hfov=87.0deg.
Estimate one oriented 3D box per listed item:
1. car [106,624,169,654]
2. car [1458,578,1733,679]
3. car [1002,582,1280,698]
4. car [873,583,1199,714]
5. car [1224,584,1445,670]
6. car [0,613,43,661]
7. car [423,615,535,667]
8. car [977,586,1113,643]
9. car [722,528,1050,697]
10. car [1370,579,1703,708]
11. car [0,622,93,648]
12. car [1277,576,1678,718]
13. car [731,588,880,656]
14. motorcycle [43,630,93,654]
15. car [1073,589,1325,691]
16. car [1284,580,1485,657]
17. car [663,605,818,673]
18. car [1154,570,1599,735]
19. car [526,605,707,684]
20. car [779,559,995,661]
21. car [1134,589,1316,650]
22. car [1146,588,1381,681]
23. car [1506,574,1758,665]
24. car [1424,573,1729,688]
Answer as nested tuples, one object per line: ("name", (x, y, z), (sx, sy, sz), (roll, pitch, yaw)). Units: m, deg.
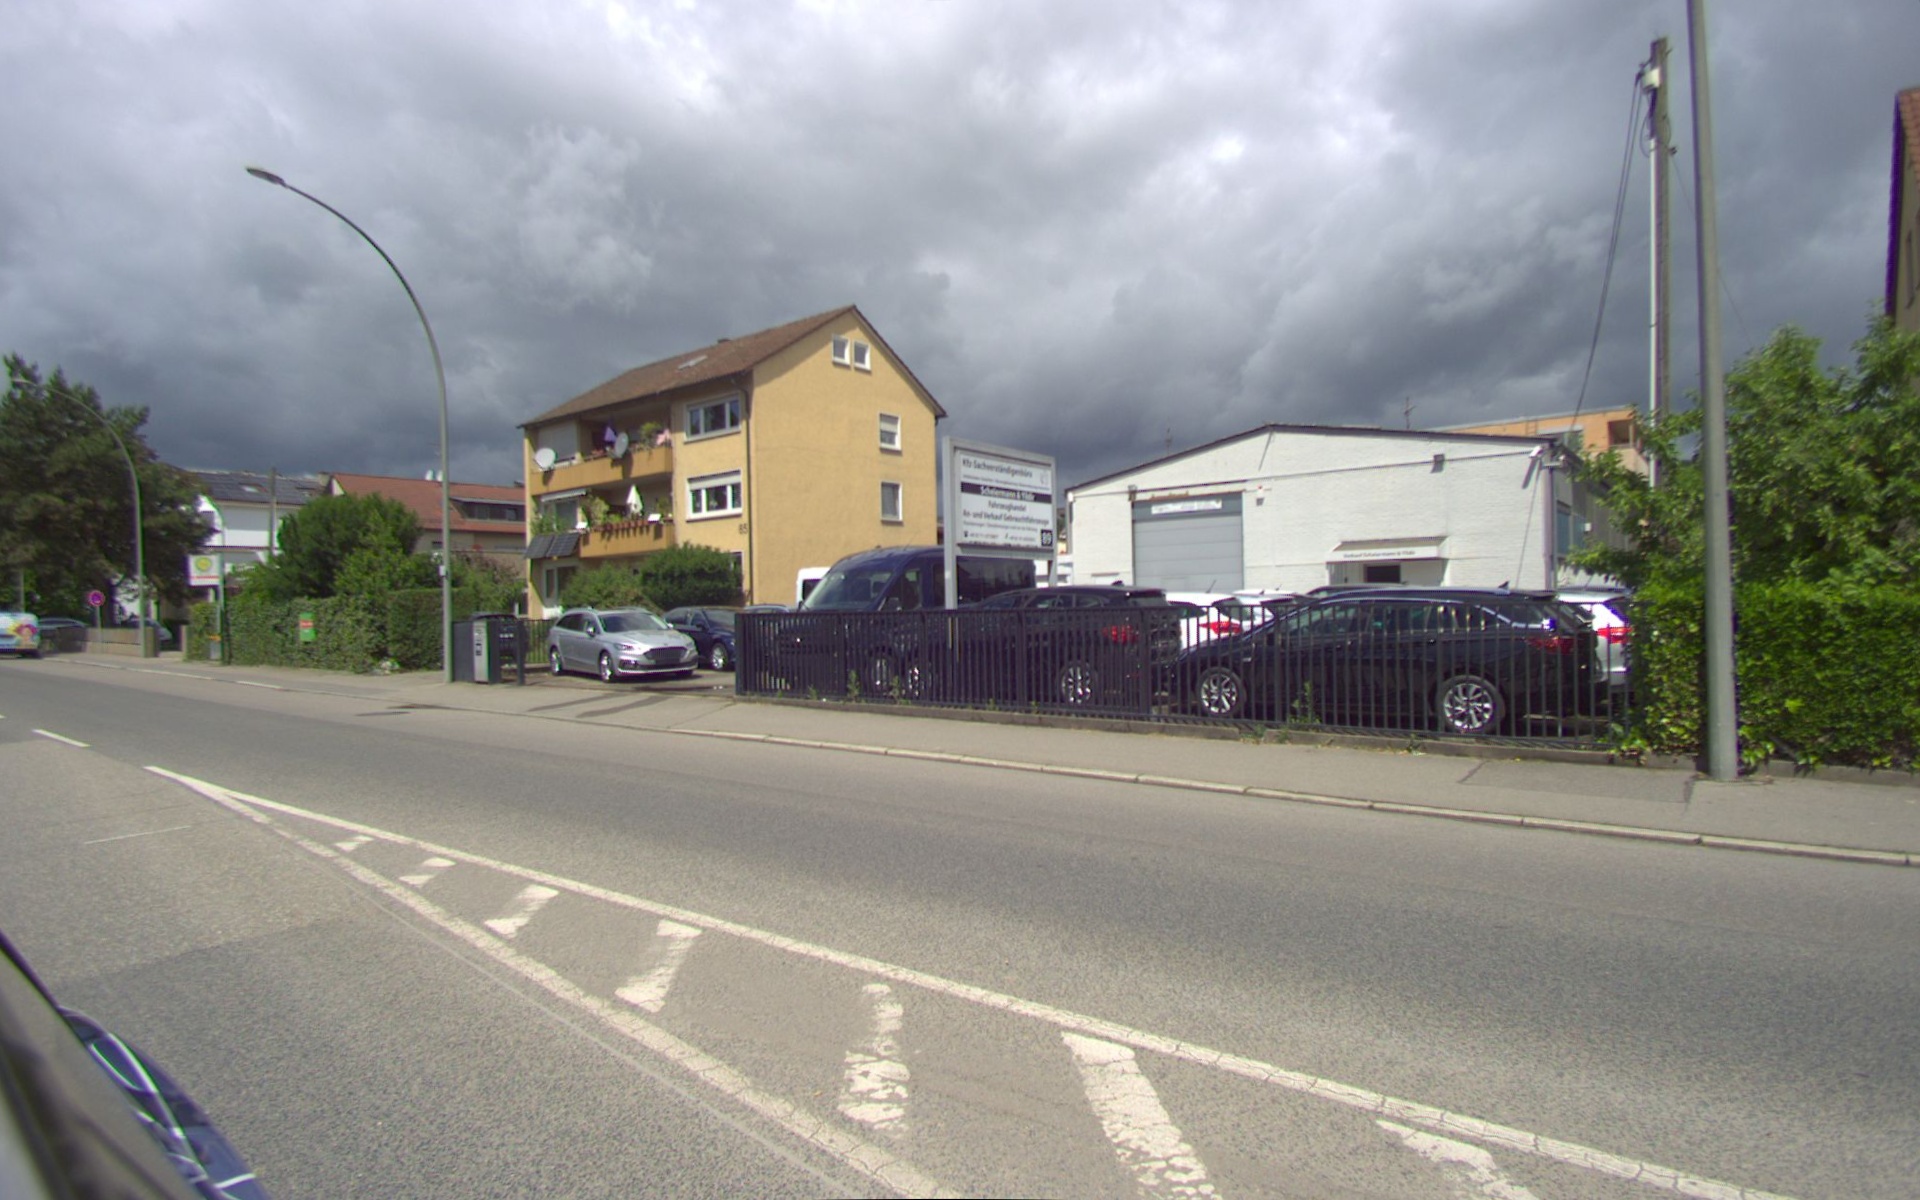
("car", (-45.747, 2.153, 56.279), (4.079, 1.555, 1.751), (-1, -1, 36))
("car", (11.291, 0.493, 18.189), (3.990, 1.630, 1.761), (-1, -1, 35))
("car", (2.829, 0.608, 16.142), (3.990, 1.630, 1.761), (-1, -1, 35))
("car", (1.014, 0.644, 14.548), (4.277, 1.607, 2.013), (-2, -1, 37))
("car", (7.701, 0.546, 20.949), (3.990, 1.630, 1.761), (-1, -1, 35))
("car", (-39.609, 1.563, 41.782), (4.891, 1.868, 1.815), (-3, -5, 40))
("car", (-14.406, 1.182, 30.184), (1.823, 1.437, 4.335), (0, -1, -43))
("car", (2.809, 0.515, 34.149), (4.328, 1.805, 1.826), (-1, -1, 41))
("car", (-1.085, 0.219, 18.244), (2.475, 2.515, 5.977), (-2, -1, 39))
("car", (8.281, 0.592, 14.698), (3.994, 1.630, 1.759), (-1, -1, 38))
("car", (-60.768, 2.273, 66.880), (1.970, 1.563, 4.960), (-1, -1, 38))
("car", (6.529, 0.543, 12.937), (4.260, 1.518, 2.134), (-1, -1, 37))
("car", (-4.031, 0.548, 25.868), (1.821, 1.589, 4.338), (0, -1, -39))
("motorcycle", (-46.818, 2.193, 53.144), (1.845, 1.174, 0.827), (0, -1, -34))
("car", (4.181, 0.675, 17.919), (3.990, 1.630, 1.761), (-1, -1, 35))
("car", (9.731, 0.425, 23.288), (3.990, 1.630, 1.761), (-1, -1, 35))
("car", (-5.257, 0.883, 23.862), (1.821, 1.437, 4.338), (0, -1, -39))
("car", (4.609, 0.532, 11.443), (4.260, 1.518, 2.133), (-2, -1, 37))
("car", (-7.593, 0.902, 21.991), (1.968, 1.497, 5.349), (0, -1, -40))
("car", (-2.138, 0.345, 27.899), (6.134, 2.514, 2.386), (-1, -3, 43))
("car", (8.042, 0.600, 30.923), (4.998, 1.726, 2.030), (-2, -1, 37))
("car", (5.808, 0.642, 19.501), (3.990, 1.630, 1.761), (-1, -1, 35))
("car", (13.205, 0.389, 20.100), (3.990, 1.630, 1.761), (-1, -1, 35))
("car", (9.824, 0.477, 16.266), (3.994, 1.630, 1.759), (-1, -1, 38))
